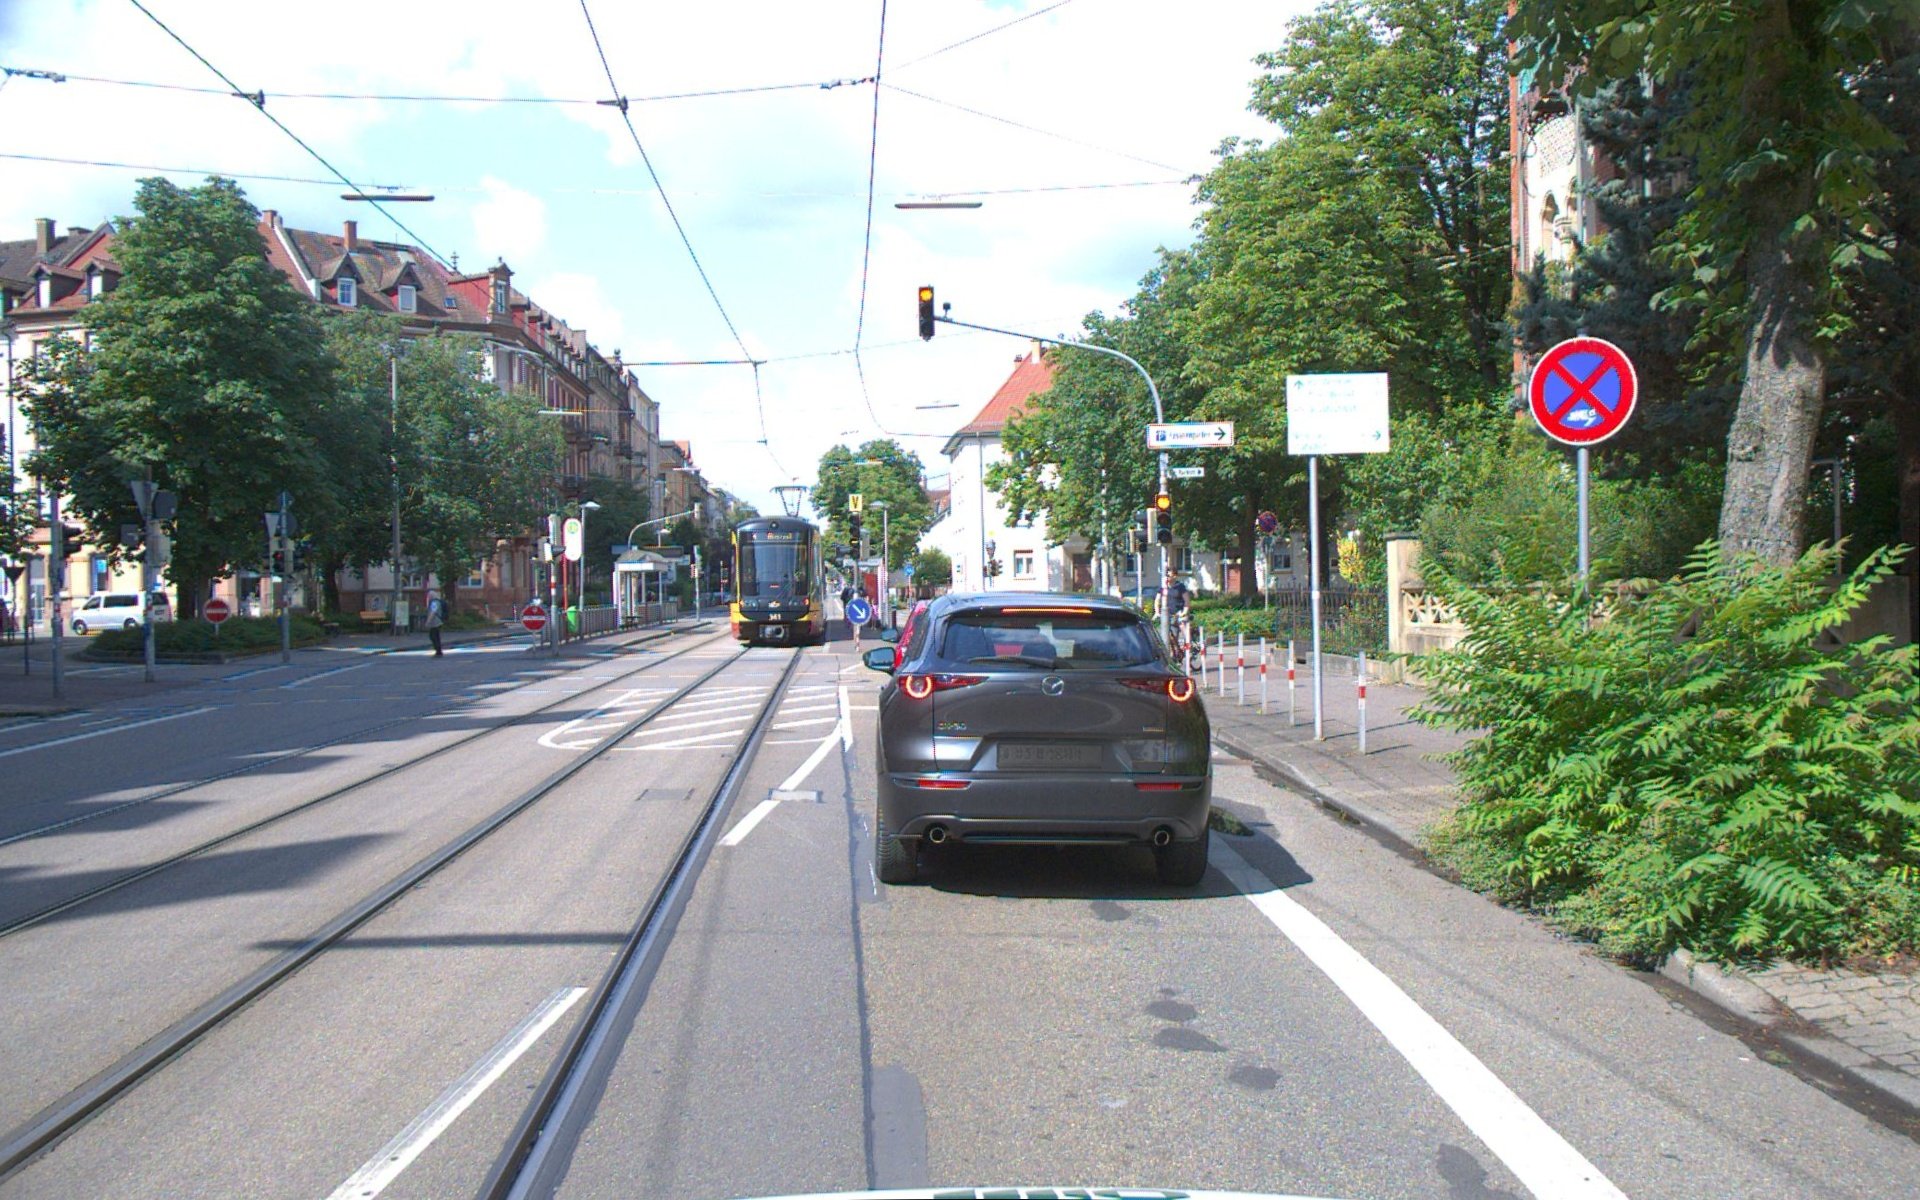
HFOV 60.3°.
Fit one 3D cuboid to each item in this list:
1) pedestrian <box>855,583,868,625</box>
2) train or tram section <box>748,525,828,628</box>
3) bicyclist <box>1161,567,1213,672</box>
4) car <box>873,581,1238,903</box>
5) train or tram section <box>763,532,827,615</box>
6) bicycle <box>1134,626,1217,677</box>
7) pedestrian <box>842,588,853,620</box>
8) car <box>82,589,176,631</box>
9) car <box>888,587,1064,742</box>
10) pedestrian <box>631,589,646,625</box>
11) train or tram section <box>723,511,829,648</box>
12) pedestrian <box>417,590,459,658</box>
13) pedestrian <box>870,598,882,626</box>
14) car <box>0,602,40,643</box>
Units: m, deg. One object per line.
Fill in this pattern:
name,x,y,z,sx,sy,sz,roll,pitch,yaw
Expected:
pedestrian,-3.459,0.148,58.125,0.441,1.459,0.474,-1,0,-6
train or tram section,-6.577,-0.979,64.758,2.699,3.551,14.395,-1,1,-5
bicyclist,3.996,0.339,29.117,0.605,1.824,0.648,-1,0,-42
car,0.422,0.674,9.980,1.742,1.526,3.999,1,0,-1
train or tram section,-7.770,-1.321,79.127,2.699,3.551,14.395,-1,1,-5
bicycle,3.832,0.905,29.296,1.685,0.838,0.487,-1,0,-43
pedestrian,-3.960,0.140,58.086,0.372,1.089,0.474,-1,0,-5
car,-39.636,0.485,78.895,3.906,1.937,1.999,-1,0,23
car,0.120,0.634,18.600,1.742,1.526,3.999,1,0,-1
pedestrian,-12.521,0.272,64.378,0.420,1.423,0.397,-1,0,30
train or tram section,-5.397,-0.699,50.438,2.699,3.551,14.395,-1,1,-5
pedestrian,-13.366,0.607,42.357,0.810,1.735,0.714,-1,0,44
pedestrian,-2.963,0.418,58.325,0.372,1.001,0.474,-1,0,-6
car,-39.712,0.922,66.855,3.906,1.624,2.000,-1,0,-1
